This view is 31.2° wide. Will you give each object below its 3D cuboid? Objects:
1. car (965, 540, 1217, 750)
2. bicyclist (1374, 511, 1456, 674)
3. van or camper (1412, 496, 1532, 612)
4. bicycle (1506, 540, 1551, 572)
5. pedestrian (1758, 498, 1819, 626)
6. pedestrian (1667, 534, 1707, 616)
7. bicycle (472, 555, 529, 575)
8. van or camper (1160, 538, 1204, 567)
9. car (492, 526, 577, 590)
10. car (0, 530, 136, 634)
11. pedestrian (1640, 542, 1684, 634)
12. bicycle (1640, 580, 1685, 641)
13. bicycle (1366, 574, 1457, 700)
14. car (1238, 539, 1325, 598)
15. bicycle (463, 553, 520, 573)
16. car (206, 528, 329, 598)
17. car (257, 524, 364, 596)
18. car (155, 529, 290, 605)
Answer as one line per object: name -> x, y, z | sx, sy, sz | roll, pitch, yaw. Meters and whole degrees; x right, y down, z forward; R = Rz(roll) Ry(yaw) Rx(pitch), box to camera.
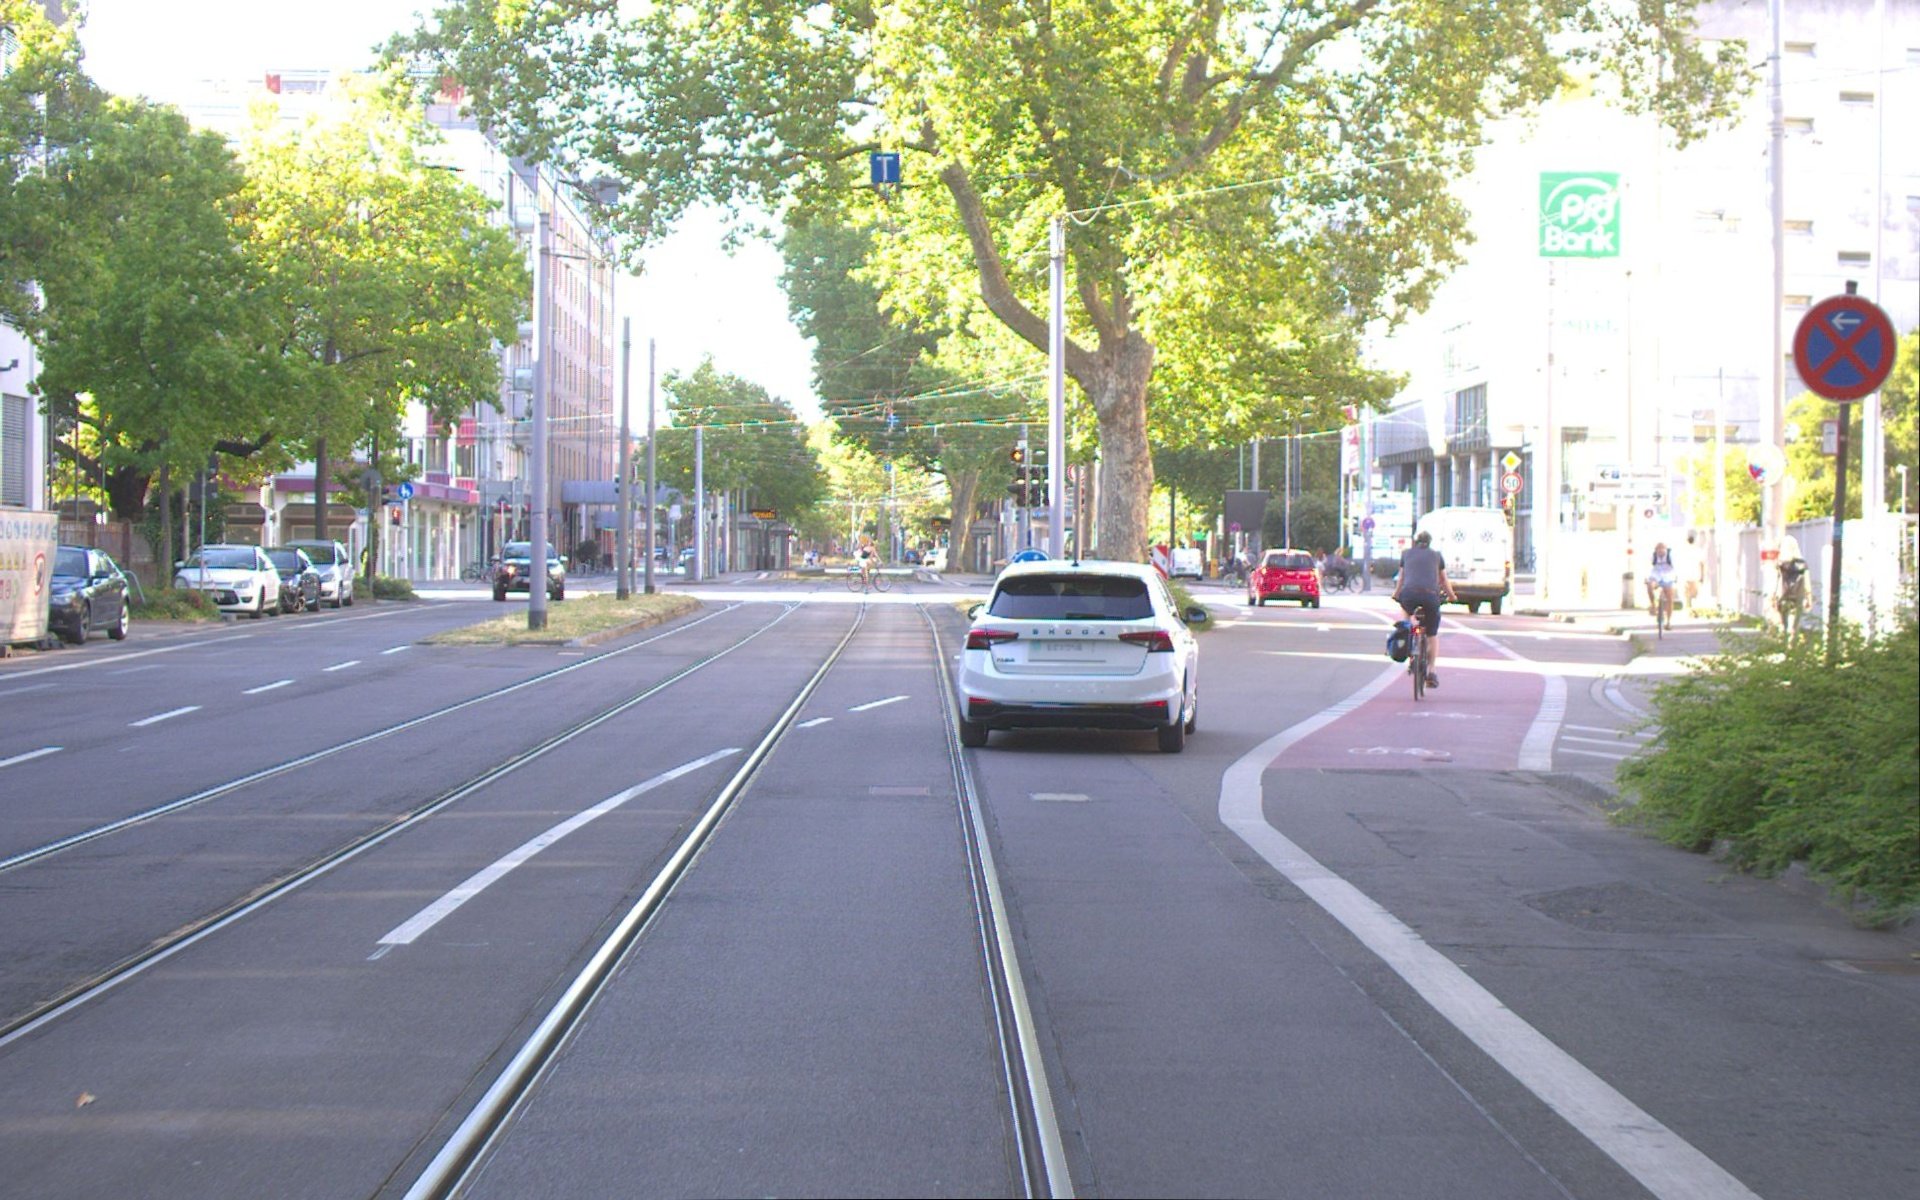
car -> 1.029, 0.293, 27.098 | 1.802, 1.496, 3.981 | 1, 1, 2
bicyclist -> 4.765, -0.085, 36.002 | 0.743, 1.663, 0.744 | 2, 1, 11
van or camper -> 12.896, -1.176, 86.987 | 2.269, 2.724, 6.346 | 3, 1, 3
bicycle -> 25.893, -2.012, 156.596 | 1.934, 1.438, 0.575 | 0, 1, -2
pedestrian -> 11.014, -0.513, 45.694 | 0.696, 1.678, 0.929 | 1, 1, 19
pedestrian -> 15.602, -0.539, 73.805 | 0.786, 1.742, 0.772 | 0, 1, 8
bicycle -> -18.122, -1.363, 135.613 | 2.169, 0.784, 0.492 | 0, 1, -4
van or camper -> 13.844, -2.976, 214.802 | 2.145, 1.744, 4.432 | 0, 1, -4
car -> -11.521, -1.167, 93.323 | 1.993, 1.683, 4.311 | 0, 1, -3
car -> -13.958, -0.309, 52.090 | 1.993, 1.508, 4.726 | 0, 1, -2
pedestrian -> 12.507, -0.218, 61.298 | 0.670, 1.613, 1.102 | -2, 1, 8
bicycle -> 12.503, 0.174, 61.208 | 0.675, 1.028, 1.900 | -2, 1, 9
bicycle -> 4.737, 0.369, 35.982 | 0.744, 1.220, 2.155 | 2, 2, 11
car -> 8.329, -0.830, 89.272 | 1.839, 1.484, 3.717 | 0, 1, -1
bicycle -> -18.362, -1.445, 134.848 | 2.169, 0.784, 0.641 | 0, 1, -4
car -> -15.107, -0.823, 75.205 | 1.993, 1.471, 4.651 | 0, 1, -3
car -> -15.481, -0.971, 82.086 | 1.993, 1.683, 4.179 | 0, 1, -3
car -> -14.821, -0.691, 69.290 | 1.993, 1.465, 4.406 | 0, 1, -3
